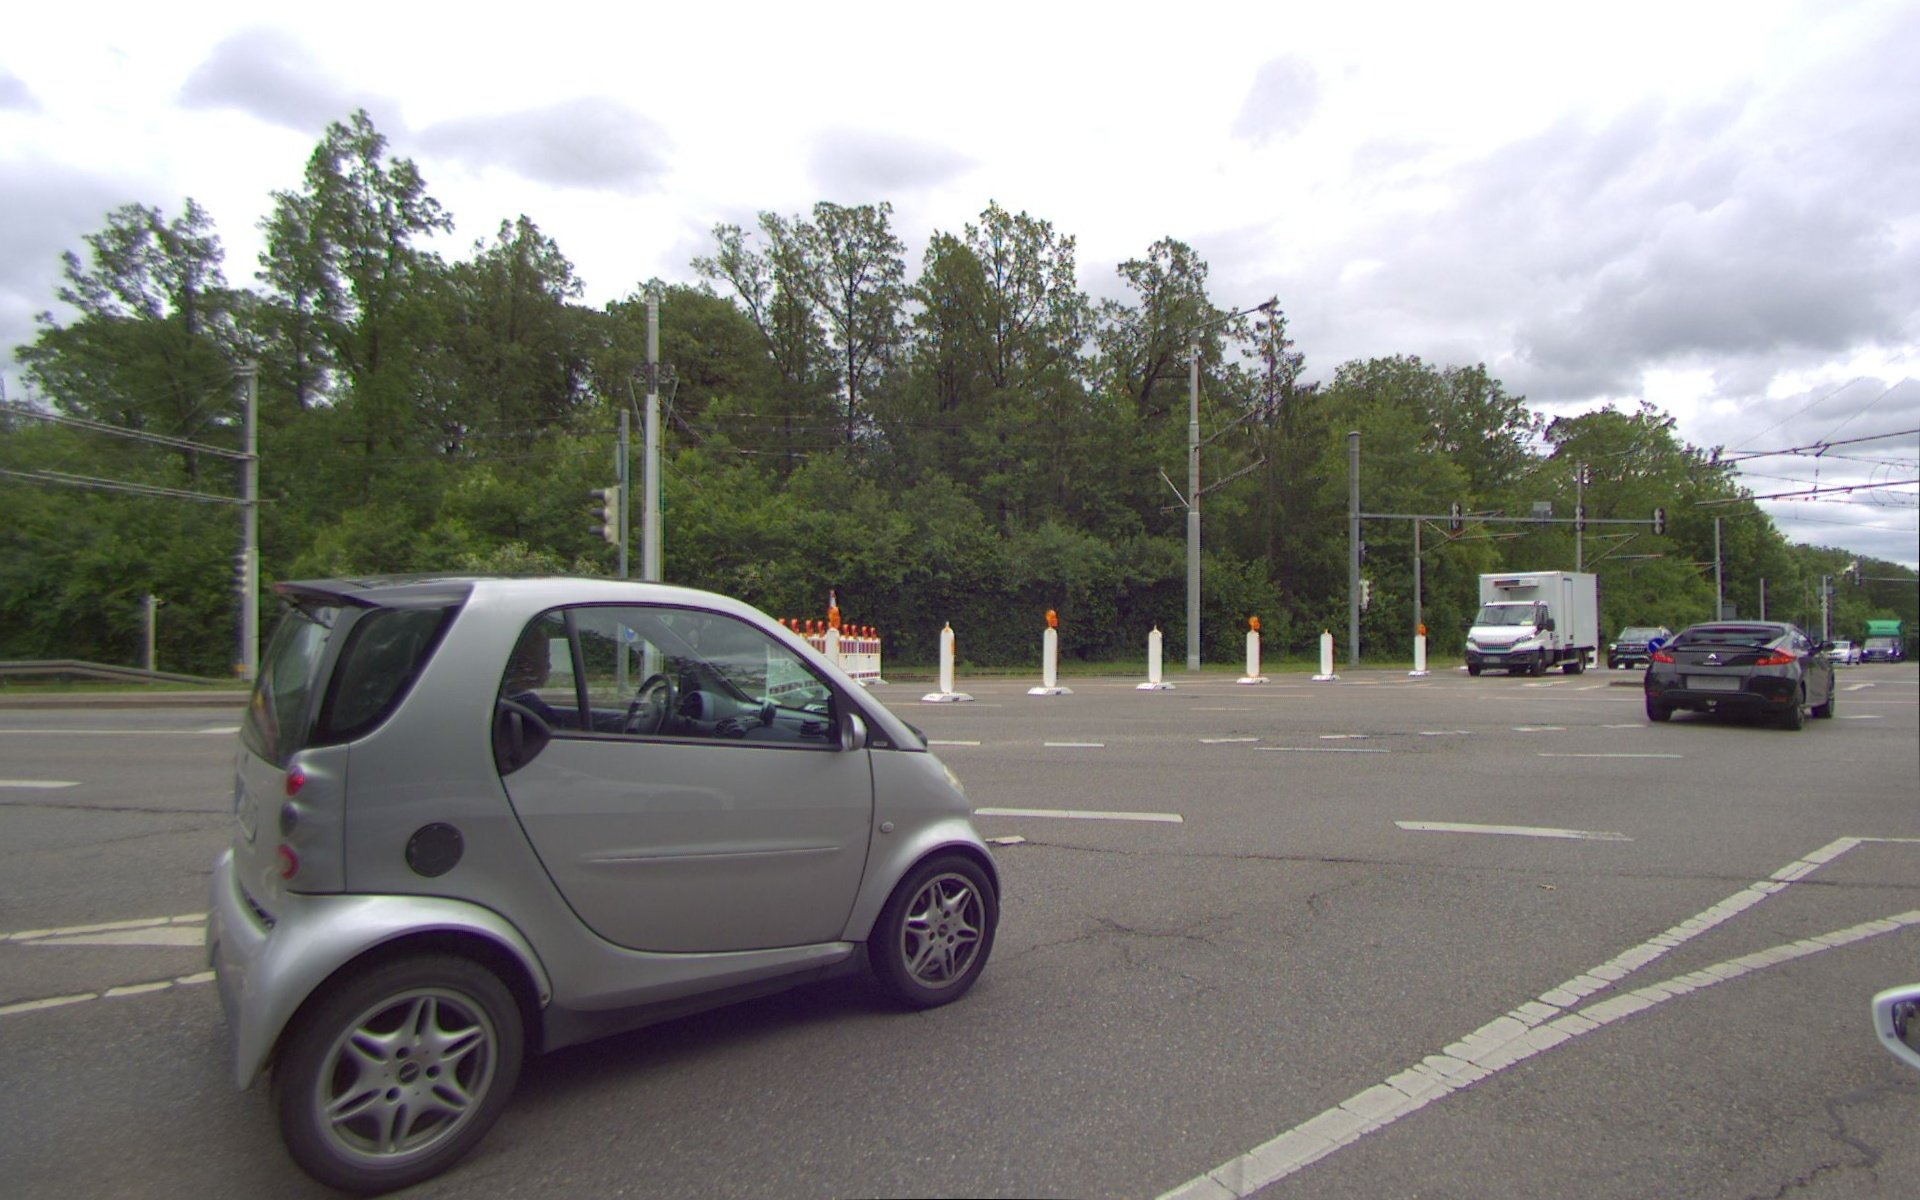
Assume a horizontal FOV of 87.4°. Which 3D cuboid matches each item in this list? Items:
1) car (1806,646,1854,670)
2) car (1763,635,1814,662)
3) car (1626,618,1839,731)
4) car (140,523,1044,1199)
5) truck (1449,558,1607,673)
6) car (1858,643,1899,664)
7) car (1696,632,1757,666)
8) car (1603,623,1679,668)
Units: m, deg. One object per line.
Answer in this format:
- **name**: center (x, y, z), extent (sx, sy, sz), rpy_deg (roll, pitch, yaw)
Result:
- **car**: center (59.107, 3.939, 68.211), extent (4.364, 1.561, 1.944), rpy_deg (2, -3, -42)
- **car**: center (52.970, 3.092, 64.199), extent (4.278, 1.628, 1.944), rpy_deg (2, -3, -42)
- **car**: center (10.888, 1.000, 14.093), extent (3.451, 1.379, 1.758), rpy_deg (3, -4, -42)
- **car**: center (-1.144, 0.711, 3.612), extent (2.708, 1.607, 1.444), rpy_deg (3, -4, -42)
- **truck**: center (18.138, 0.621, 31.873), extent (7.108, 3.266, 2.425), rpy_deg (3, -4, -44)
- **car**: center (71.169, 4.157, 77.848), extent (4.278, 1.560, 1.944), rpy_deg (2, -3, -42)
- **car**: center (43.447, 2.757, 56.913), extent (4.655, 1.869, 1.944), rpy_deg (2, -3, -42)
- **car**: center (28.831, 1.914, 42.473), extent (1.941, 1.773, 4.819), rpy_deg (-1, -3, 43)
